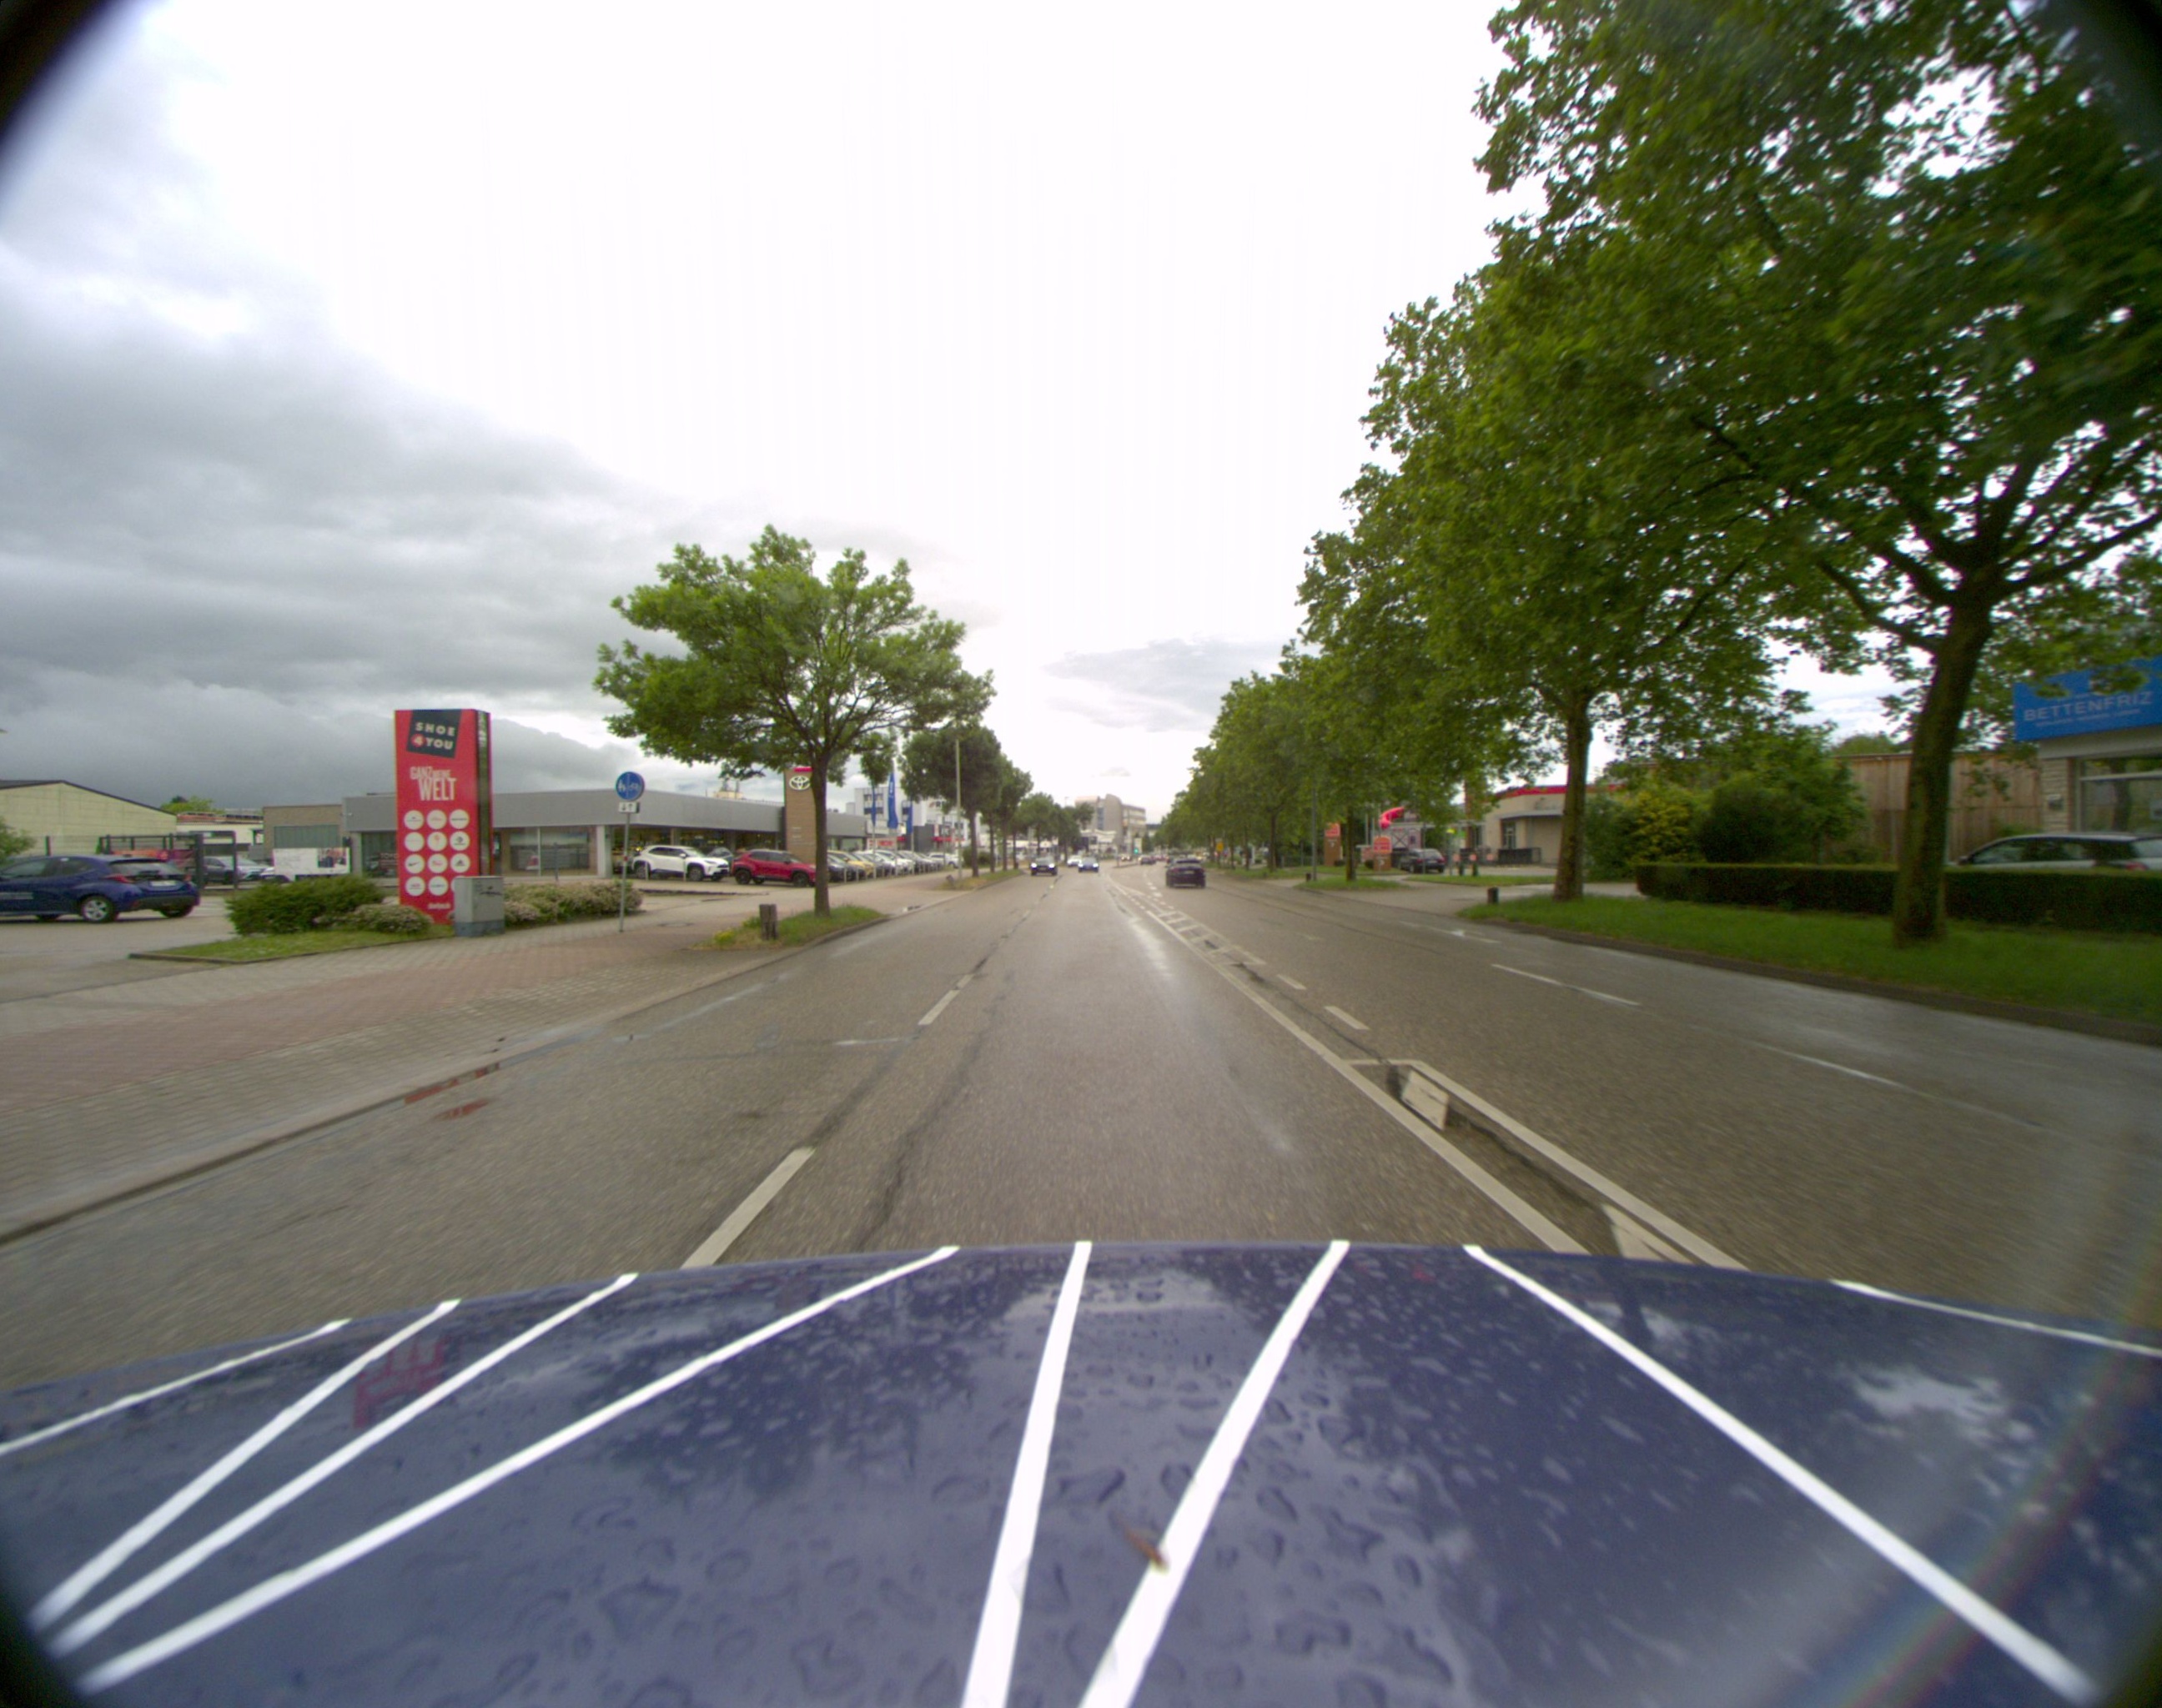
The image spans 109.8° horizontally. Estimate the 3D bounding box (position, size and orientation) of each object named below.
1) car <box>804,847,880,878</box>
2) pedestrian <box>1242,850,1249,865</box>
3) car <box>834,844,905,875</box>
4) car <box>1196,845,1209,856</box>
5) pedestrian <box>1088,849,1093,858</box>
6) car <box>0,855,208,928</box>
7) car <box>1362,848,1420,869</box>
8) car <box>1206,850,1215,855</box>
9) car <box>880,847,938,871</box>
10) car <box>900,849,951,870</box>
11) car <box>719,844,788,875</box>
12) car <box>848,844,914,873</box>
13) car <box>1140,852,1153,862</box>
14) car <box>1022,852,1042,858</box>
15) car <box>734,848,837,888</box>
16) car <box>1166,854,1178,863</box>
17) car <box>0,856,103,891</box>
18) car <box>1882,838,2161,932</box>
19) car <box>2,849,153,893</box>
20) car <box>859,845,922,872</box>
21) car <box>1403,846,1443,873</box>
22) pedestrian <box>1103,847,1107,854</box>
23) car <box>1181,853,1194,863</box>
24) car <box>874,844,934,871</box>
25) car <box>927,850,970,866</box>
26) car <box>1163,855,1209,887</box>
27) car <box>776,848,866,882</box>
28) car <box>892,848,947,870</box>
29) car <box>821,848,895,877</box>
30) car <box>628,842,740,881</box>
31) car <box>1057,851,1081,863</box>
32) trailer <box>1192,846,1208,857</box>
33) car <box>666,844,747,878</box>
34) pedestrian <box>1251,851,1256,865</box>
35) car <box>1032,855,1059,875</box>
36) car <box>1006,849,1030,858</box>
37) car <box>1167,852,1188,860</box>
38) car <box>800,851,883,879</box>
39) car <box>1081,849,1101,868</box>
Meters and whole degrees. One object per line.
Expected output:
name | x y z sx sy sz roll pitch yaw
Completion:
car | -13.901 0.468 44.363 3.849 1.557 1.666 3 1 -1
pedestrian | 20.188 0.422 93.286 0.665 1.756 0.584 -1 1 25
car | -13.734 0.331 49.383 3.995 1.776 1.812 3 1 4
car | 28.784 -0.832 179.592 2.242 2.459 5.022 -2 -1 18
pedestrian | 2.131 -0.077 165.467 0.817 2.002 0.695 0 1 -25
car | -22.609 0.801 16.919 3.999 1.506 1.758 0 0 -6
car | 19.998 0.303 49.069 3.181 1.148 1.291 -3 0 10
car | 37.969 -0.399 222.302 1.784 1.396 4.006 0 0 22
car | -13.568 0.379 60.142 3.995 1.575 1.812 4 1 4
car | -13.286 0.459 64.938 3.842 1.453 1.828 4 0 1
car | -18.283 0.271 42.614 1.879 1.612 4.123 1 0 3
car | -13.888 0.308 52.809 3.995 1.776 1.812 3 0 4
car | 10.823 0.477 125.209 1.815 1.553 4.600 0 1 7
car | -11.203 0.162 174.100 4.365 1.385 1.826 0 0 18
car | -13.122 0.587 33.920 3.850 1.594 1.795 2 1 2
car | 16.265 0.819 135.638 1.997 1.499 4.733 1 0 8
car | -43.283 0.807 31.251 1.465 1.357 3.491 -2 0 1
car | 17.621 0.485 13.879 1.828 1.477 3.939 0 0 0
car | -40.121 0.685 30.449 3.660 1.634 1.788 -1 0 0
car | -13.789 0.324 55.233 3.997 1.578 1.812 5 0 0
car | 20.887 0.301 46.466 1.436 1.419 3.192 -2 3 9
pedestrian | 5.691 -0.759 180.086 0.700 1.701 0.698 0 0 18
car | 19.110 0.670 136.322 1.932 1.610 4.399 0 1 3
car | -13.358 0.265 57.470 3.995 1.776 1.812 4 1 4
car | -13.923 0.431 79.814 4.058 1.588 1.988 1 1 23
car | 5.152 0.808 37.641 1.808 1.454 3.846 1 0 1
car | -13.415 0.556 39.317 3.995 1.637 1.846 0 0 5
car | -13.247 0.379 62.539 3.995 1.534 1.812 4 1 4
car | -13.759 0.499 47.027 3.995 1.538 1.711 3 1 4
car | -17.991 0.338 34.560 4.117 1.612 1.881 1 0 6
car | -1.753 0.488 110.486 1.897 1.543 4.009 -1 -3 26
trailer | 27.621 -0.510 175.861 2.306 2.459 7.983 -2 -1 18
car | -18.786 0.322 38.328 1.879 1.612 4.123 1 0 3
pedestrian | 21.104 0.524 93.211 0.513 1.673 0.540 0 1 4
car | -2.762 0.825 59.947 1.900 1.544 4.592 0 0 0
car | -13.725 -0.078 165.163 4.777 2.002 2.003 0 0 19
car | 20.256 0.496 159.177 4.005 1.532 1.810 -1 2 -27
car | -13.151 0.593 41.858 3.996 1.530 1.800 0 0 2
car | 0.965 0.414 71.261 1.800 1.623 4.550 0 1 1
